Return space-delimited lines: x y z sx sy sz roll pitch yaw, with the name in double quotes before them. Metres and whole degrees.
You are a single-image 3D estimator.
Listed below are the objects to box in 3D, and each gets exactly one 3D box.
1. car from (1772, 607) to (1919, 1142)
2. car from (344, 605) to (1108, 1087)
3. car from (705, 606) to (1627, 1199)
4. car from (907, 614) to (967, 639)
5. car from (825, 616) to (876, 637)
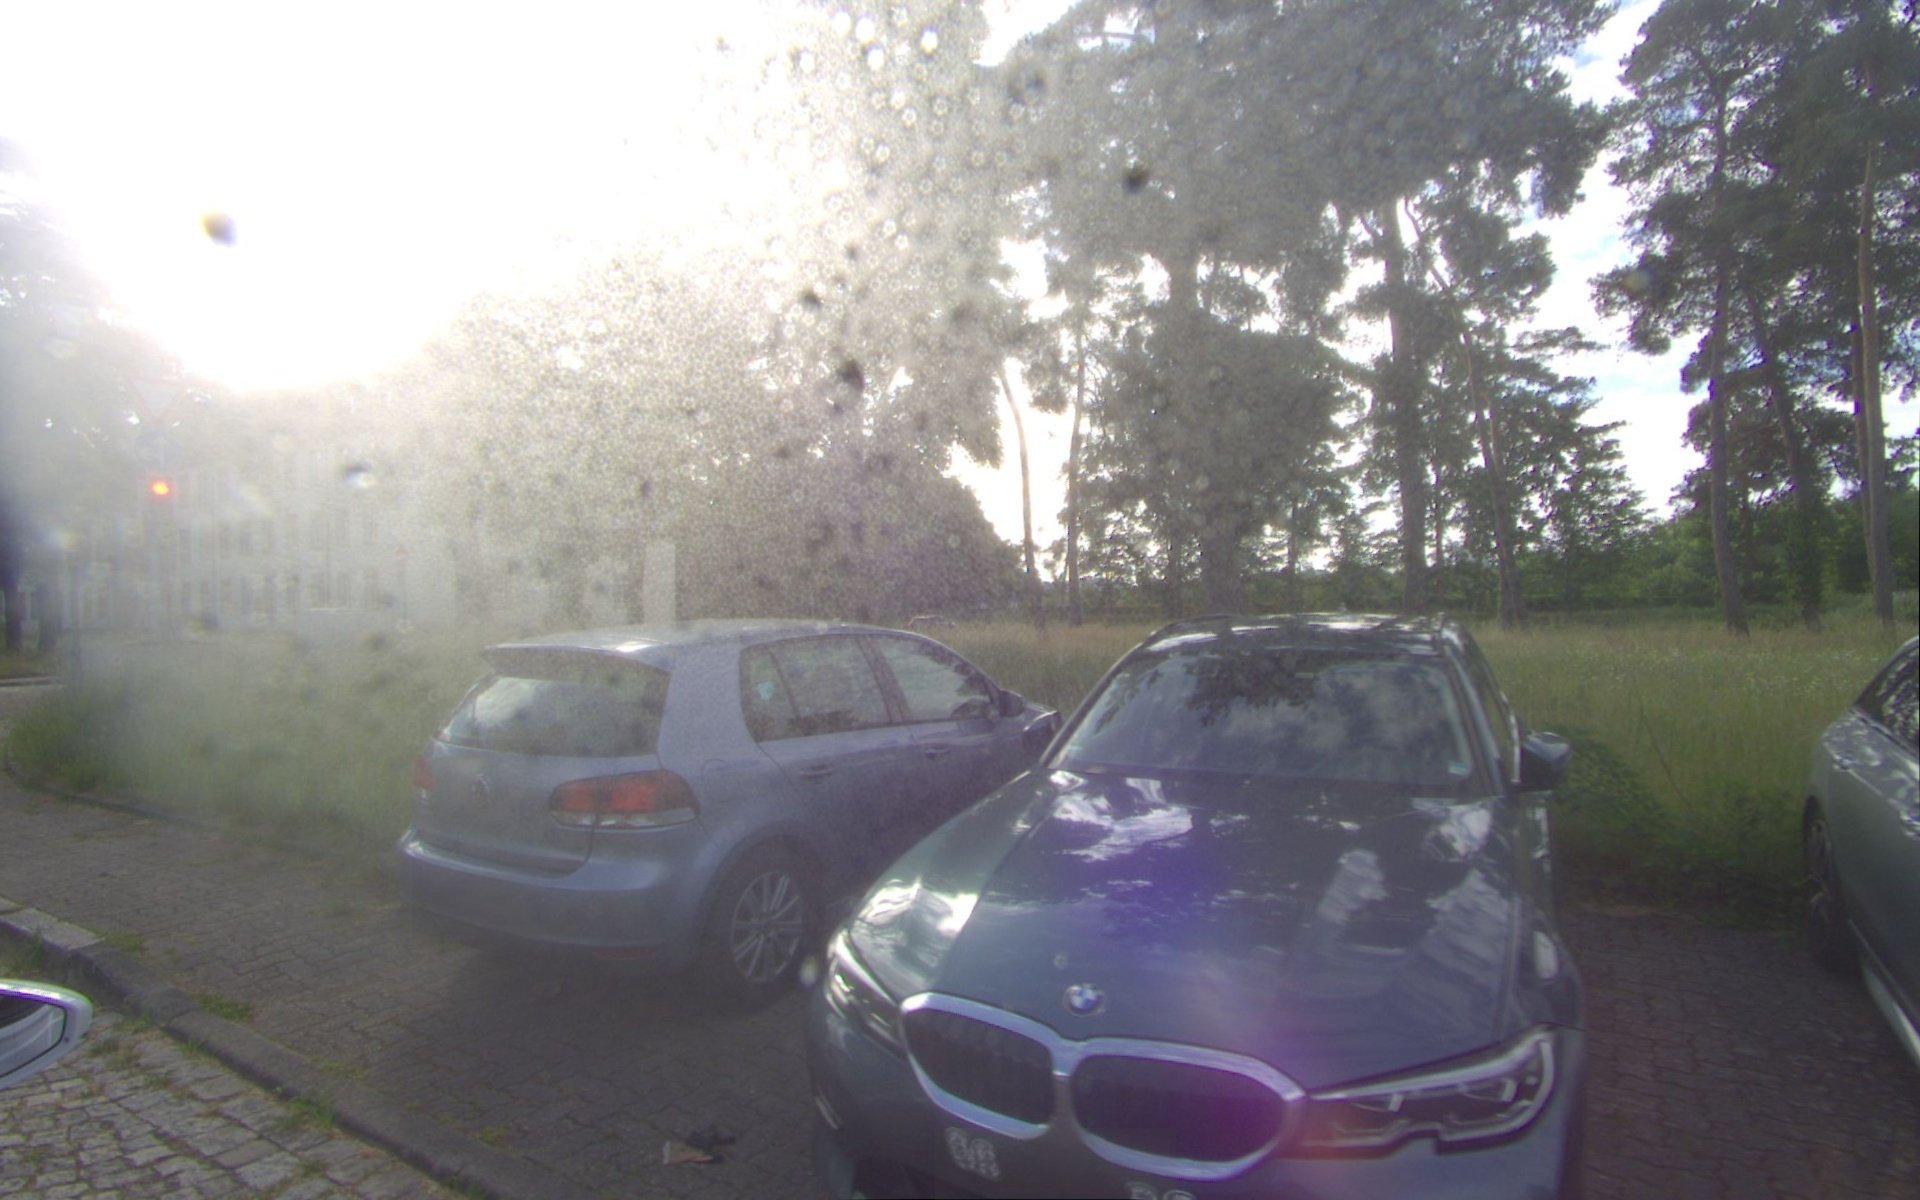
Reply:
"car" 3.429 0.762 2.374 1.741 1.447 4.317 -1 0 31
"car" -0.775 0.800 5.225 1.619 1.490 3.833 -1 0 33
"car" 1.294 0.785 3.837 1.780 1.502 4.507 -1 -1 30
"car" -1.555 1.753 67.103 3.923 1.622 2.000 0 0 -5
"car" -7.888 1.966 72.524 1.541 1.415 3.981 -1 -3 32
